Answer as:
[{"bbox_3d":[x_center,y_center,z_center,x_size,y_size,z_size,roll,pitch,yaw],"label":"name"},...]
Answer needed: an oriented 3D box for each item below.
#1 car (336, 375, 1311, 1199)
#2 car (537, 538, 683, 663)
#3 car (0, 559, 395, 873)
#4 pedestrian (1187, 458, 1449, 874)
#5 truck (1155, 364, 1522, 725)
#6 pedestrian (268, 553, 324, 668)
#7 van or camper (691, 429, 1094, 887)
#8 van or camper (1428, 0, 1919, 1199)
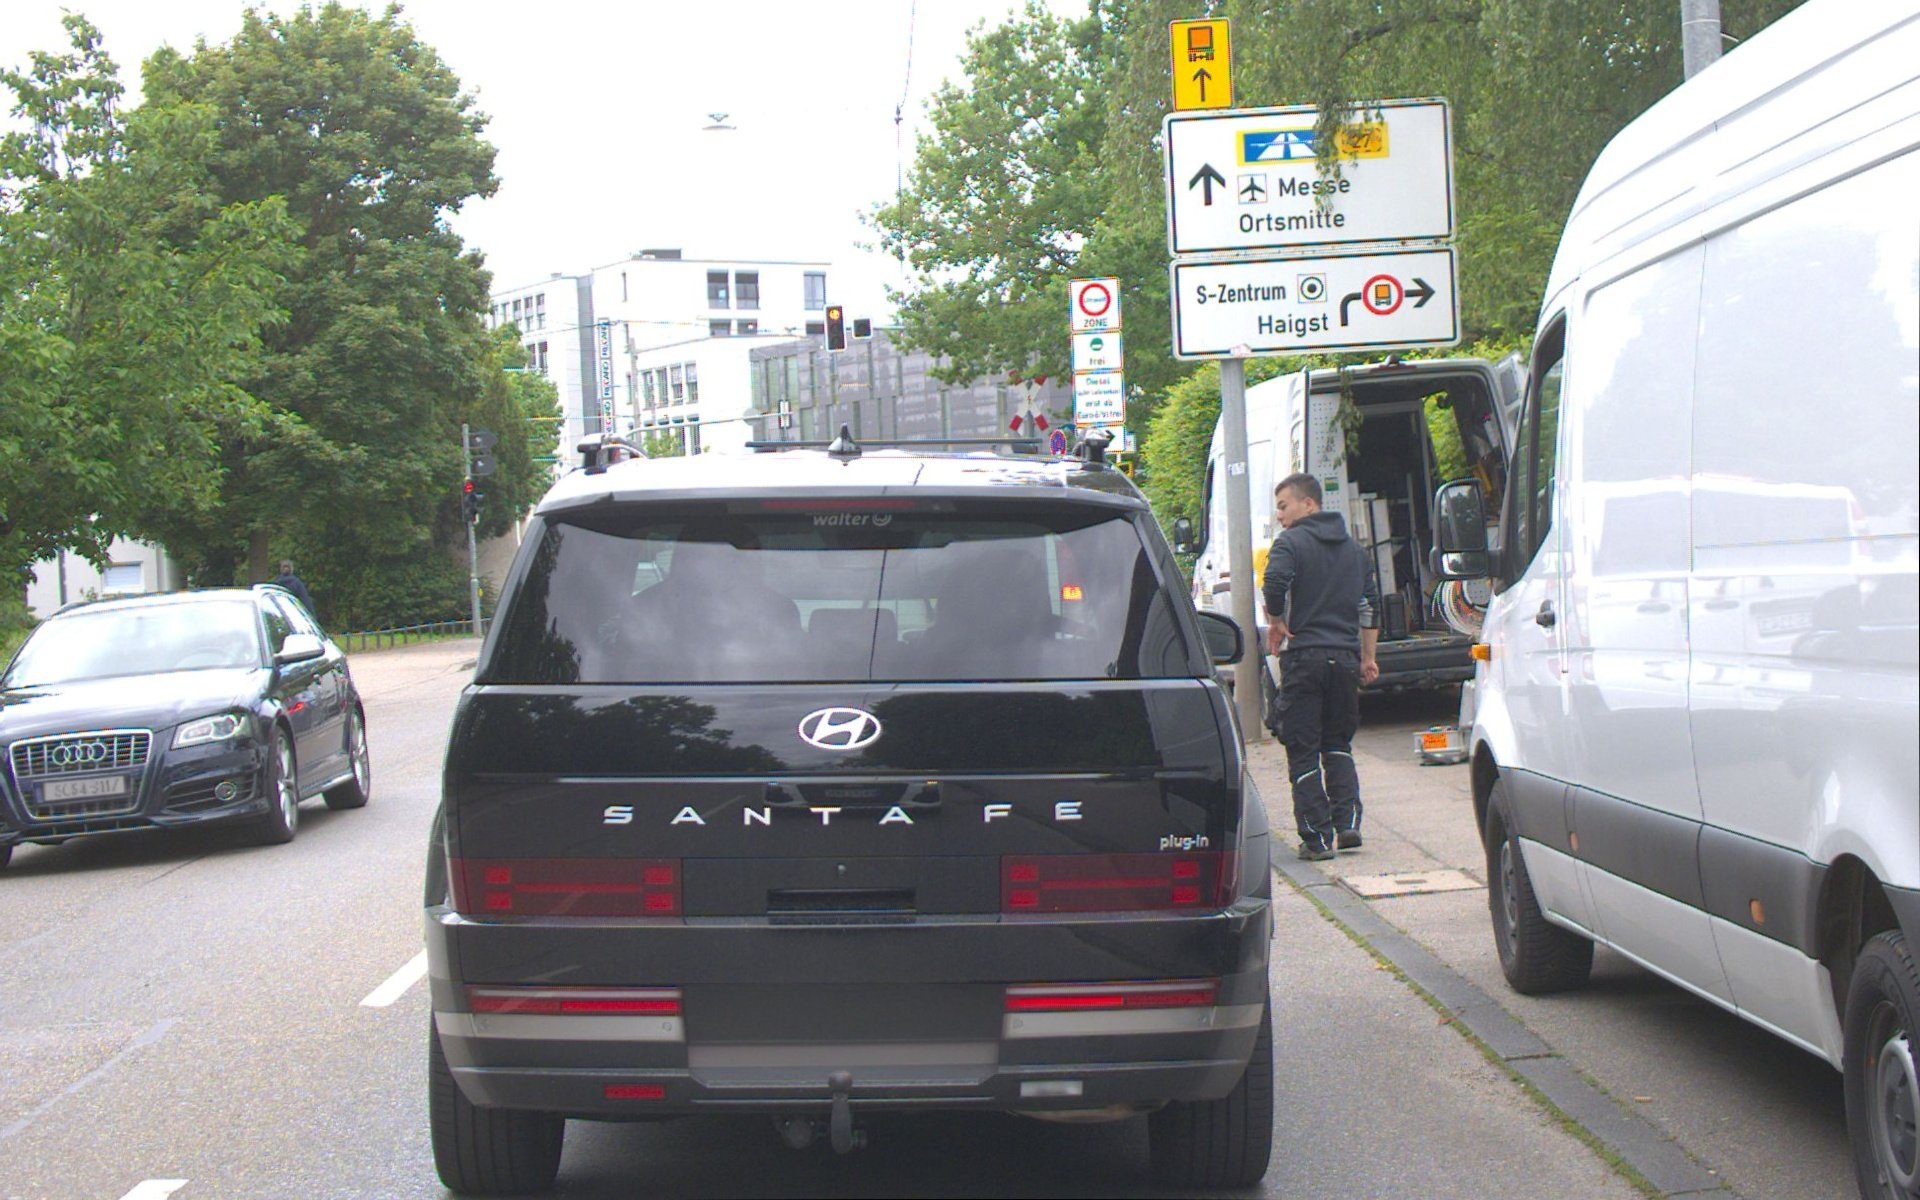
[{"bbox_3d":[-0.286,0.440,8.698,1.889,1.813,4.000,0,1,-1],"label":"car"},{"bbox_3d":[-5.160,-0.021,51.105,1.785,1.648,4.121,-4,1,-2],"label":"car"},{"bbox_3d":[-4.446,0.570,19.174,1.859,1.448,4.111,-4,1,-1],"label":"car"},{"bbox_3d":[1.623,0.290,15.674,0.757,1.791,0.873,-5,1,-19],"label":"pedestrian"},{"bbox_3d":[2.946,-0.434,27.989,1.942,2.553,5.217,-4,1,-4],"label":"truck"},{"bbox_3d":[-10.110,0.150,52.346,0.738,1.709,0.793,-2,1,-7],"label":"pedestrian"},{"bbox_3d":[-0.326,0.229,17.493,1.754,2.007,4.000,-2,1,-1],"label":"van or camper"},{"bbox_3d":[2.625,-0.081,8.137,1.993,2.611,6.541,-2,1,-1],"label":"van or camper"}]
